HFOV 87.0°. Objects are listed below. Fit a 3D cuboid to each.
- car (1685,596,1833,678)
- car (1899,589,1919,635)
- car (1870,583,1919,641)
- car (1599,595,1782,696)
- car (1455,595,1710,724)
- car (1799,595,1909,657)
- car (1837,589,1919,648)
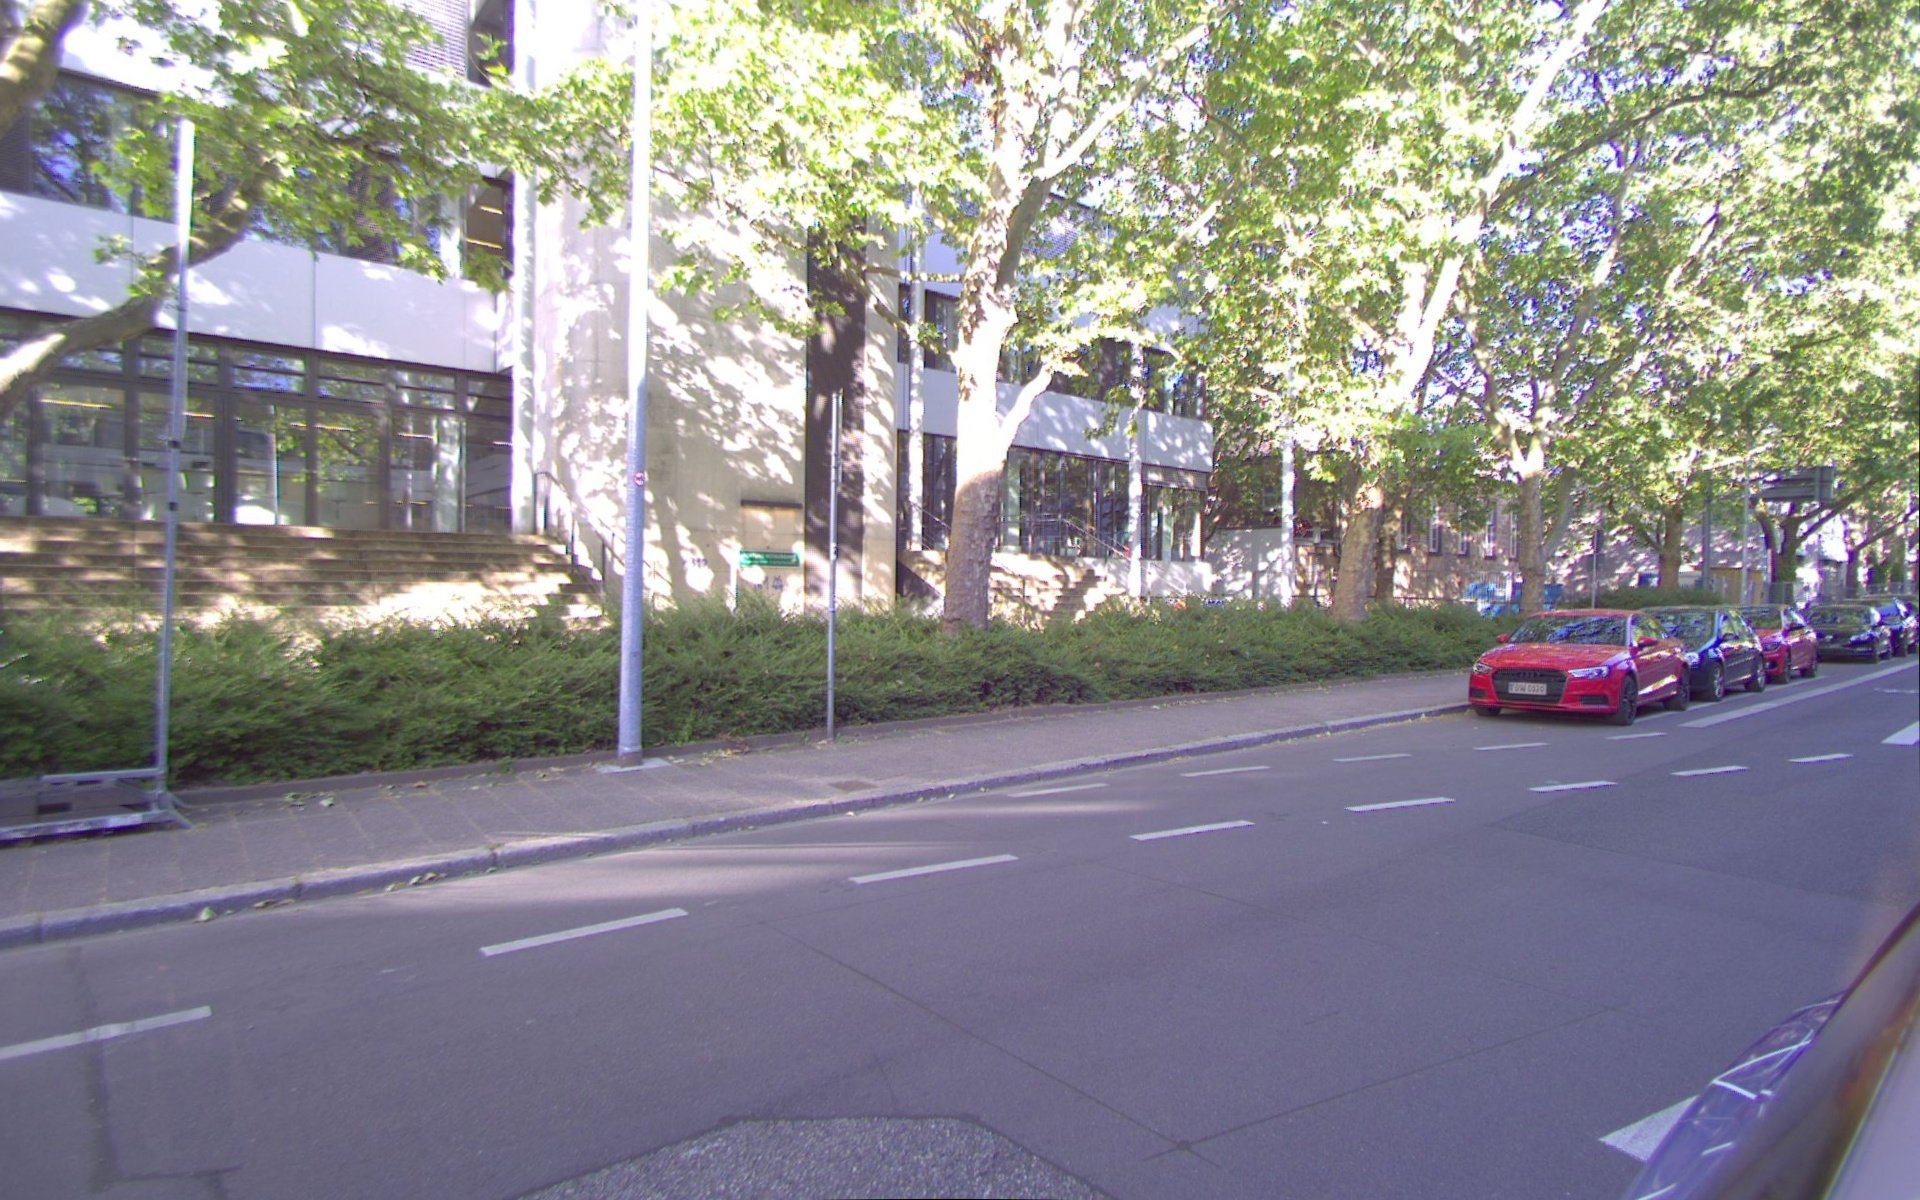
[{"bbox_3d":[15.880,0.666,20.050,3.674,1.483,1.634,0,-1,-41],"label":"car"},{"bbox_3d":[36.102,0.419,37.390,3.777,1.675,1.634,0,-1,-41],"label":"car"},{"bbox_3d":[31.207,0.377,33.131,3.777,1.828,1.634,0,-1,-41],"label":"car"},{"bbox_3d":[12.115,0.670,16.713,3.674,1.483,1.634,0,-1,-41],"label":"car"},{"bbox_3d":[8.508,0.684,13.696,4.053,1.483,1.802,0,-1,-41],"label":"car"},{"bbox_3d":[23.110,0.620,26.132,3.674,1.483,1.634,0,-1,-41],"label":"car"},{"bbox_3d":[26.673,0.498,29.129,3.777,1.607,1.634,0,-1,-41],"label":"car"}]
